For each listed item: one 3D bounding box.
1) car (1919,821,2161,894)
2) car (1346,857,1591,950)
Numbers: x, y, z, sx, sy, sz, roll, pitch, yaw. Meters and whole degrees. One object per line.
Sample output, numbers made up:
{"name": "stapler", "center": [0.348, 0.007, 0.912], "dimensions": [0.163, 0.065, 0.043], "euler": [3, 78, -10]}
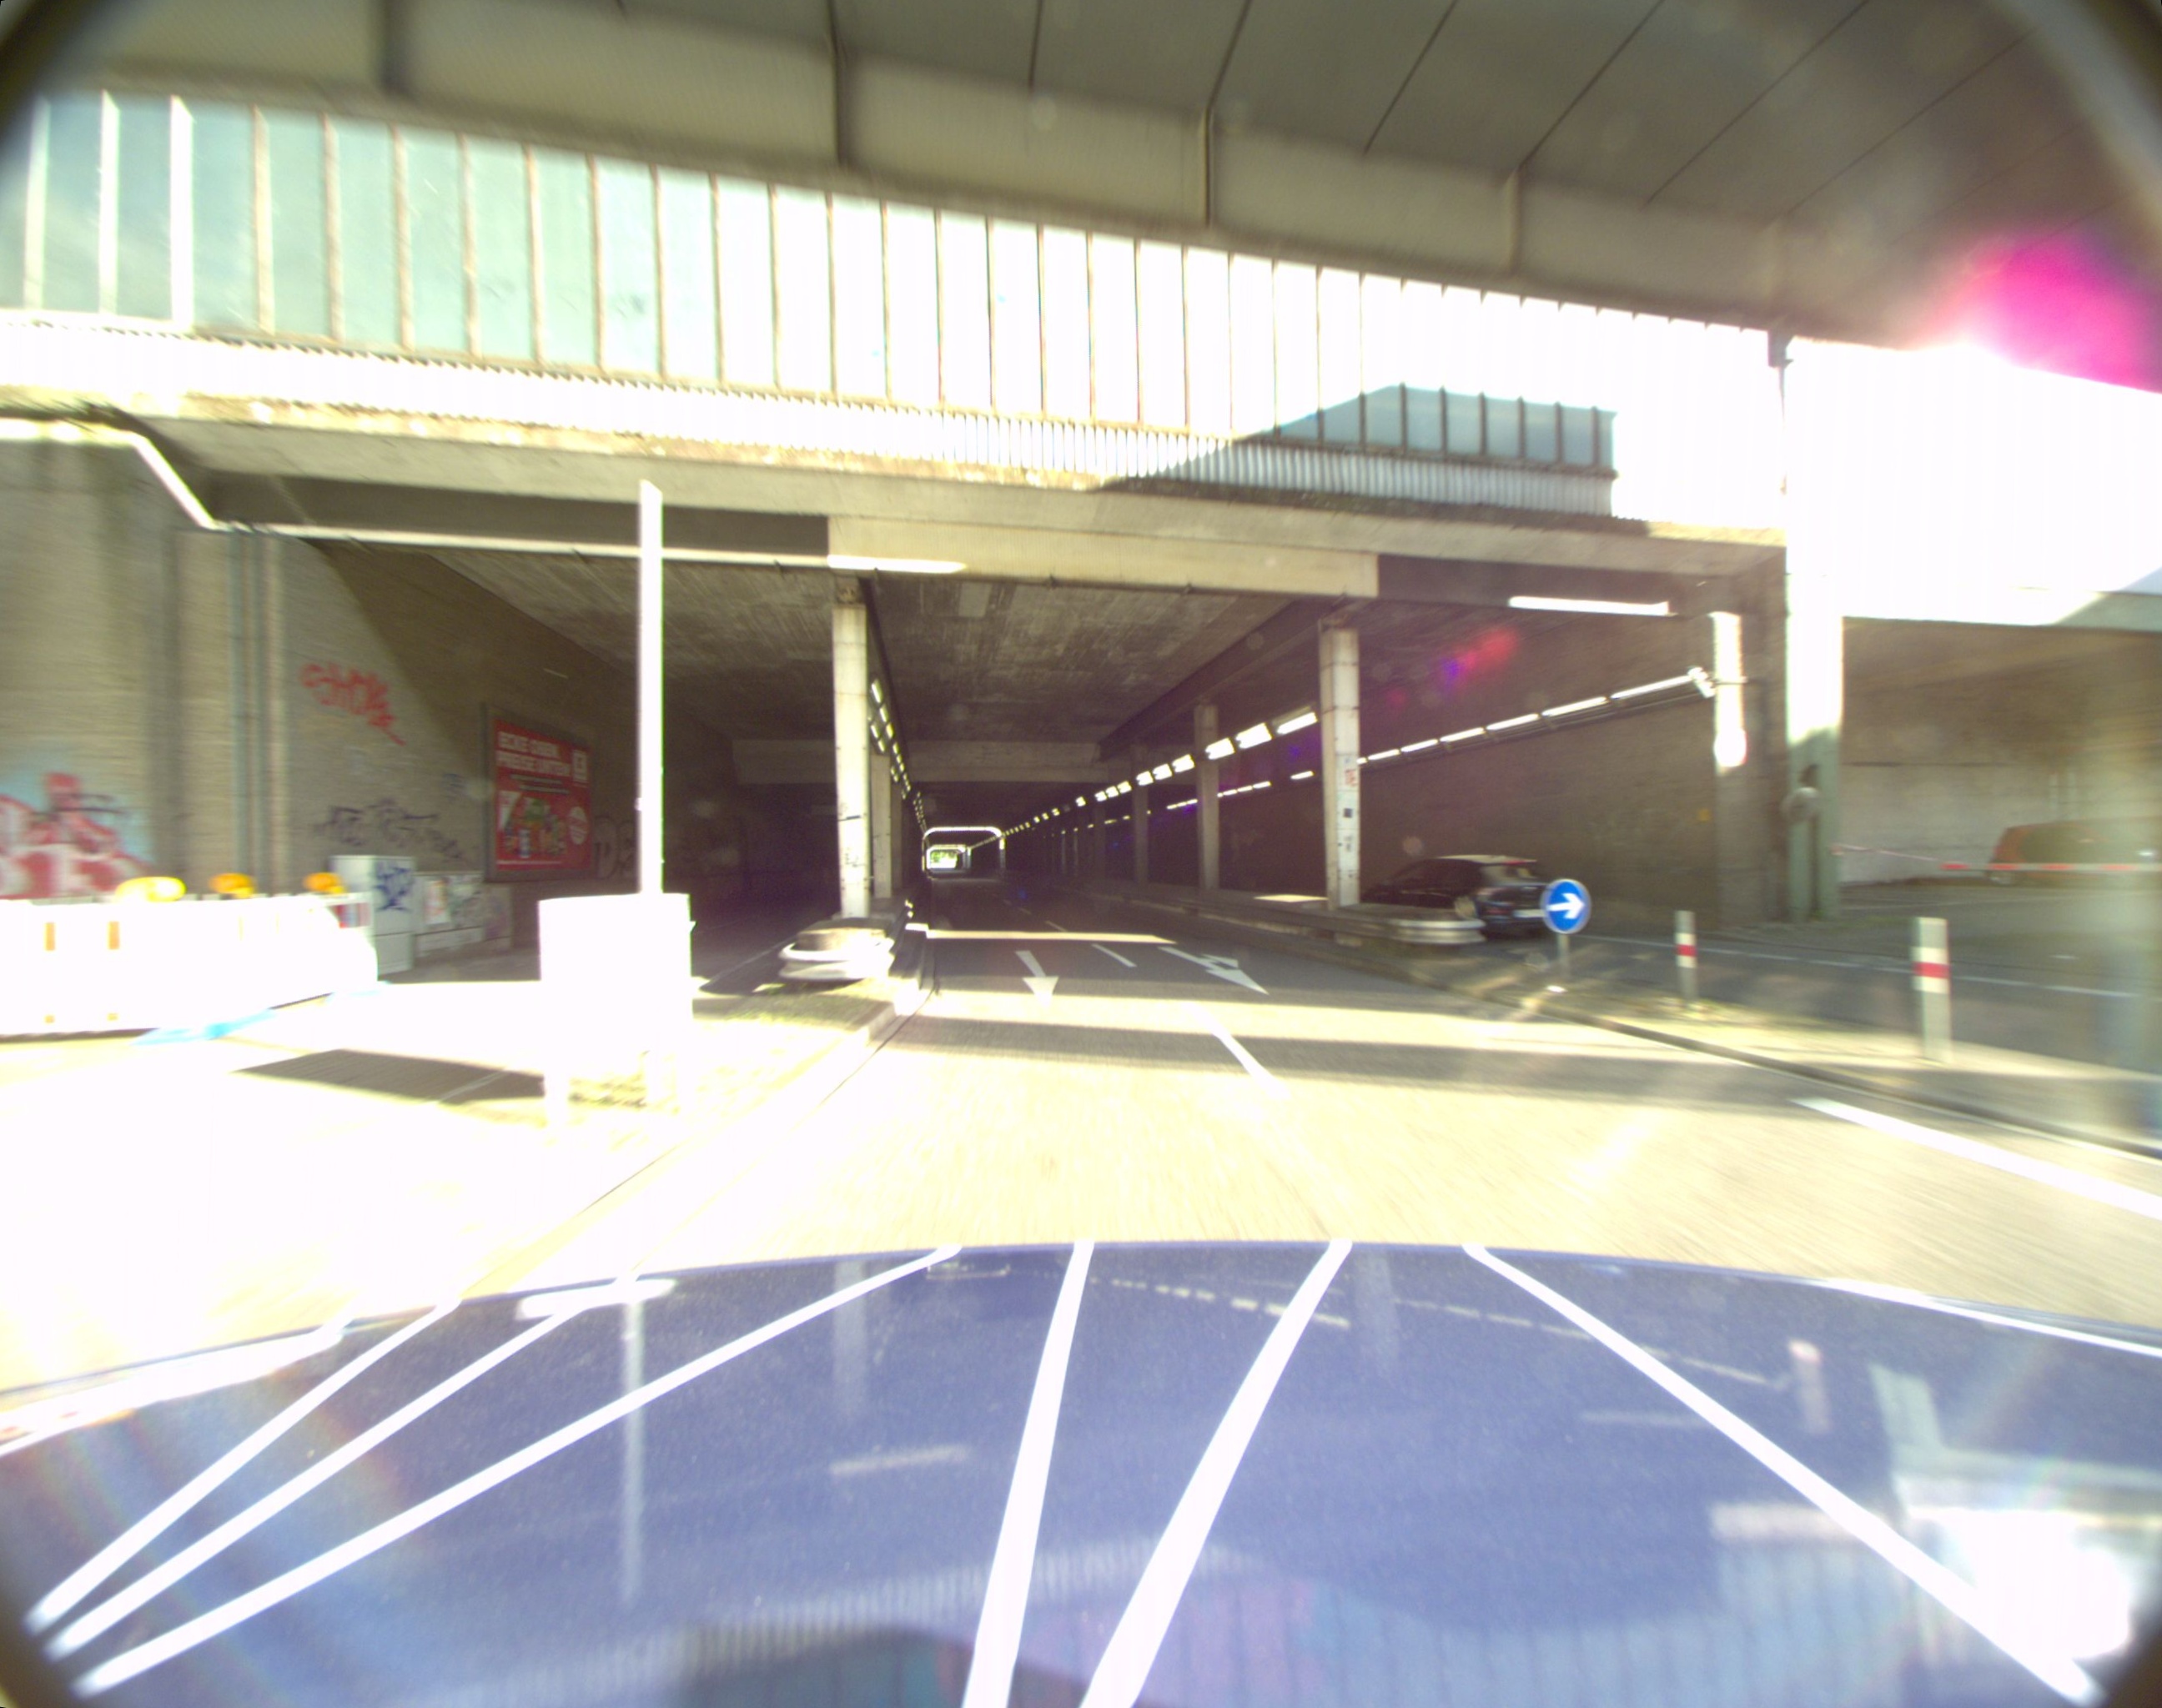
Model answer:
{"name": "car", "center": [23.480, 0.071, 18.394], "dimensions": [1.698, 1.569, 3.996], "euler": [-1, 0, -11]}
{"name": "car", "center": [6.866, 0.784, 14.096], "dimensions": [1.758, 1.397, 4.412], "euler": [-2, 0, -9]}
